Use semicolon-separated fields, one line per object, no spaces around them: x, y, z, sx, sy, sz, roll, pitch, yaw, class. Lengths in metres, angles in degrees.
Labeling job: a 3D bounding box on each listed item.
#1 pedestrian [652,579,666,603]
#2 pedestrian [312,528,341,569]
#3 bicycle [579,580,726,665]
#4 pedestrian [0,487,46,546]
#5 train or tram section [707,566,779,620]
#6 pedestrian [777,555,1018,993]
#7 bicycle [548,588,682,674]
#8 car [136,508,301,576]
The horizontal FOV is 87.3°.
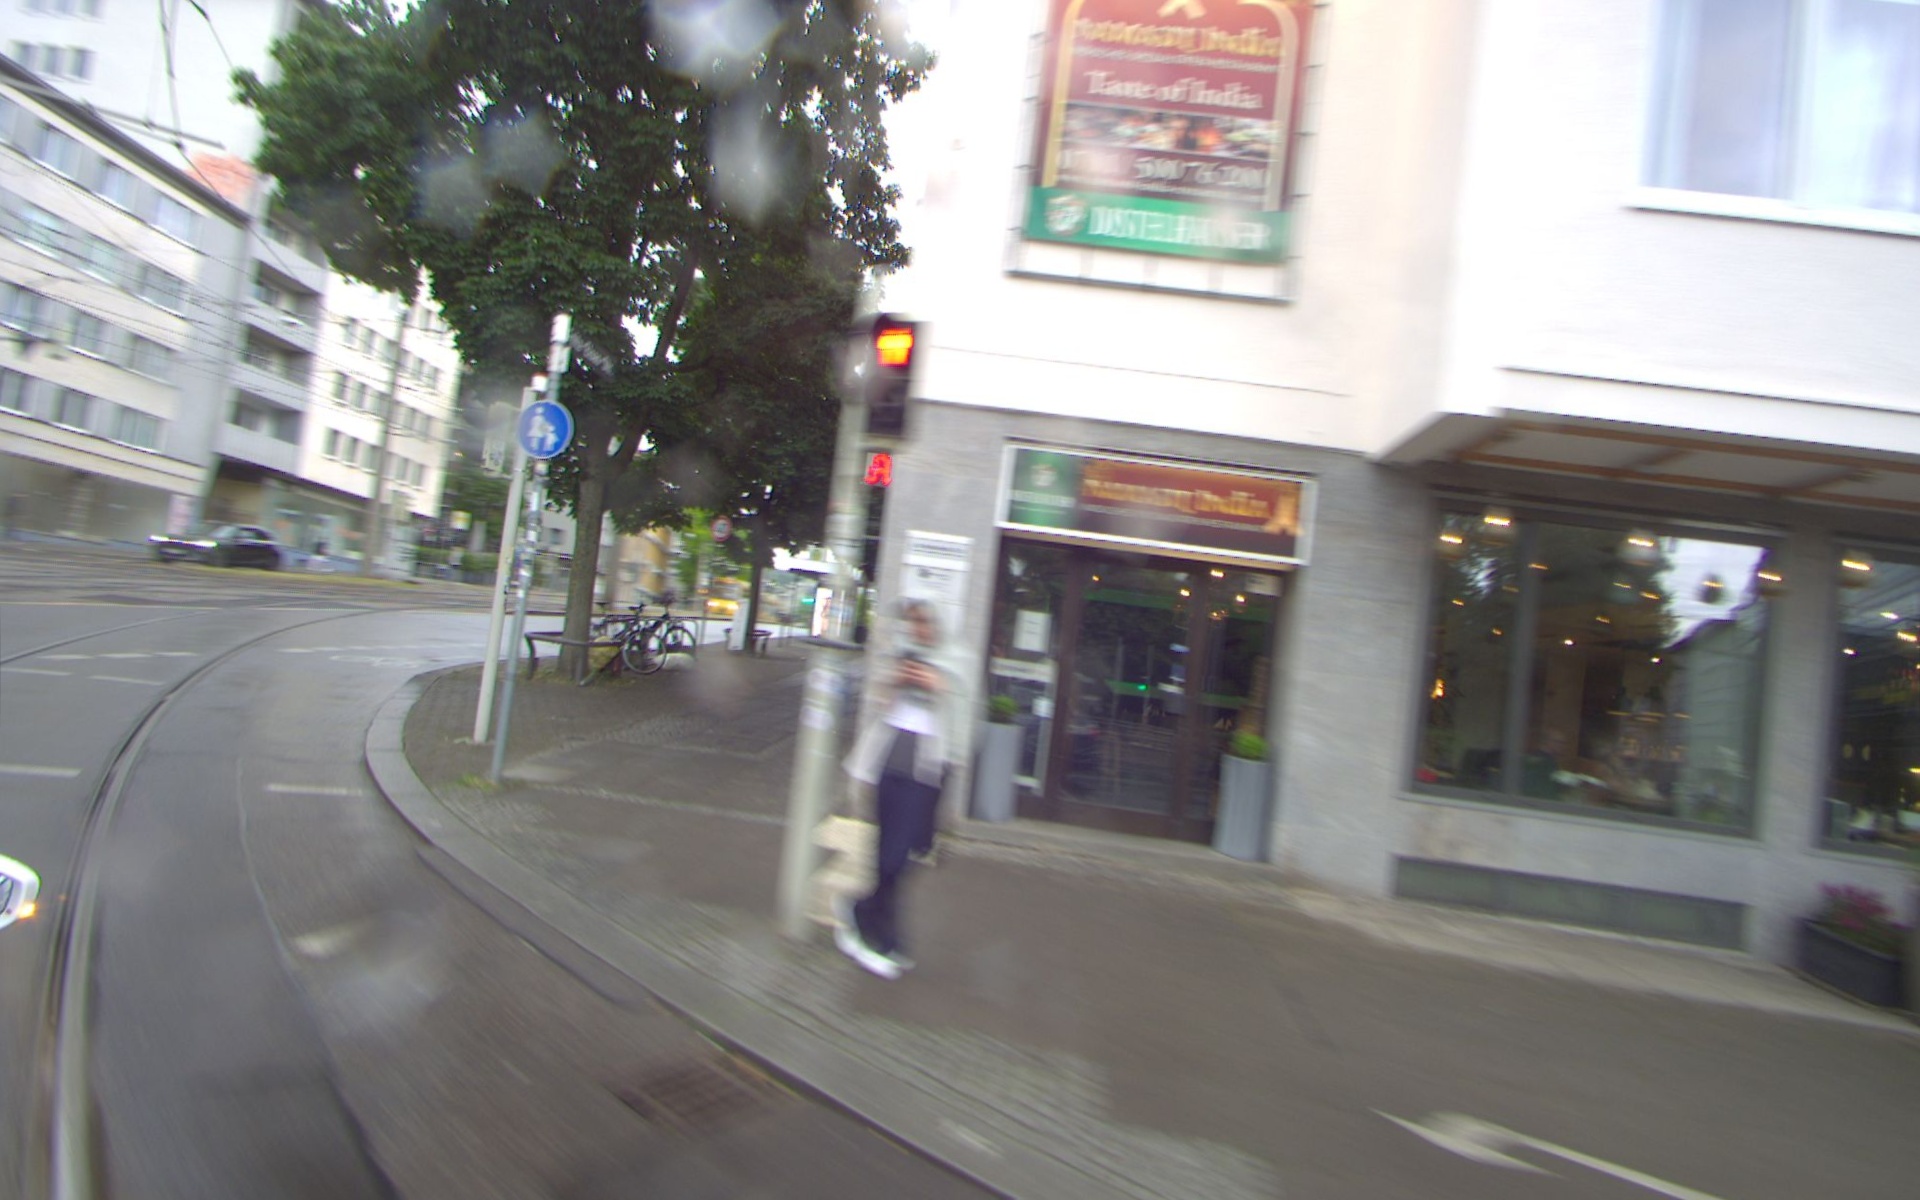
-24.021;-0.702;80.331;0.721;1.812;0.696;7;0;-1;pedestrian
-29.580;-2.387;46.987;0.587;1.759;0.910;7;0;-1;pedestrian
-5.414;0.411;17.794;2.279;1.187;0.650;7;-2;4;bicycle
-30.082;-2.669;32.010;0.874;1.701;0.999;7;0;1;pedestrian
-20.131;-0.404;94.814;2.705;3.737;18.987;8;-3;-1;train or tram section
-0.280;0.712;4.453;0.696;1.732;0.526;6;-1;43;pedestrian
-5.430;0.484;15.890;1.788;1.105;0.649;7;1;4;bicycle
-24.697;-1.863;33.752;1.963;1.693;4.528;7;-1;1;car
